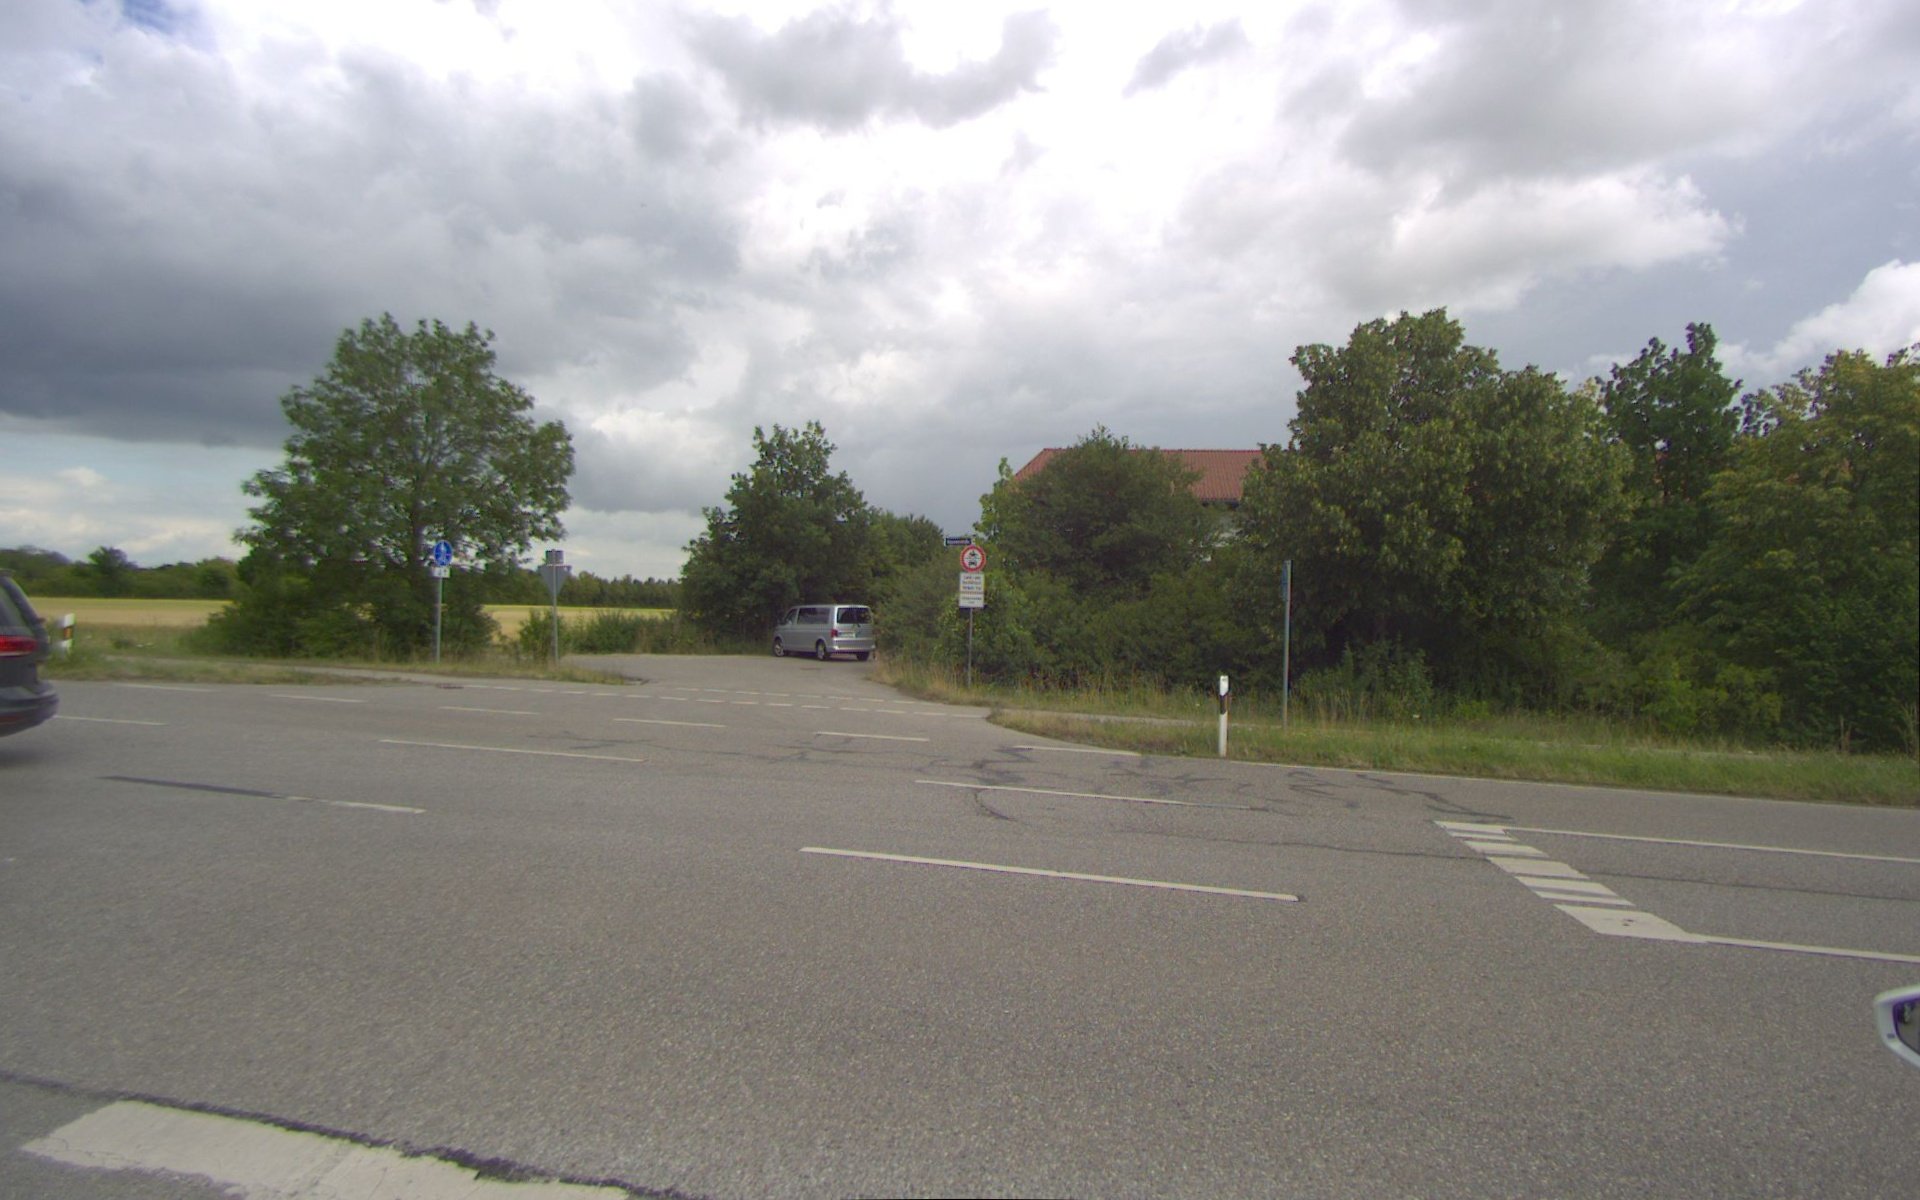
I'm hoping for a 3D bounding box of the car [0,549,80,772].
[{"bbox_3d":[-9.291,0.366,7.194,4.249,1.680,1.736,3,-2,-36],"label":"car"}]

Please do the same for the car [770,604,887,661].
[{"bbox_3d":[-4.905,1.122,36.822,2.093,1.911,5.048,1,-1,-36],"label":"car"}]

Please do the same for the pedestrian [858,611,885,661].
[{"bbox_3d":[-3.218,1.296,36.480,0.689,1.746,0.733,2,0,20],"label":"pedestrian"}]
